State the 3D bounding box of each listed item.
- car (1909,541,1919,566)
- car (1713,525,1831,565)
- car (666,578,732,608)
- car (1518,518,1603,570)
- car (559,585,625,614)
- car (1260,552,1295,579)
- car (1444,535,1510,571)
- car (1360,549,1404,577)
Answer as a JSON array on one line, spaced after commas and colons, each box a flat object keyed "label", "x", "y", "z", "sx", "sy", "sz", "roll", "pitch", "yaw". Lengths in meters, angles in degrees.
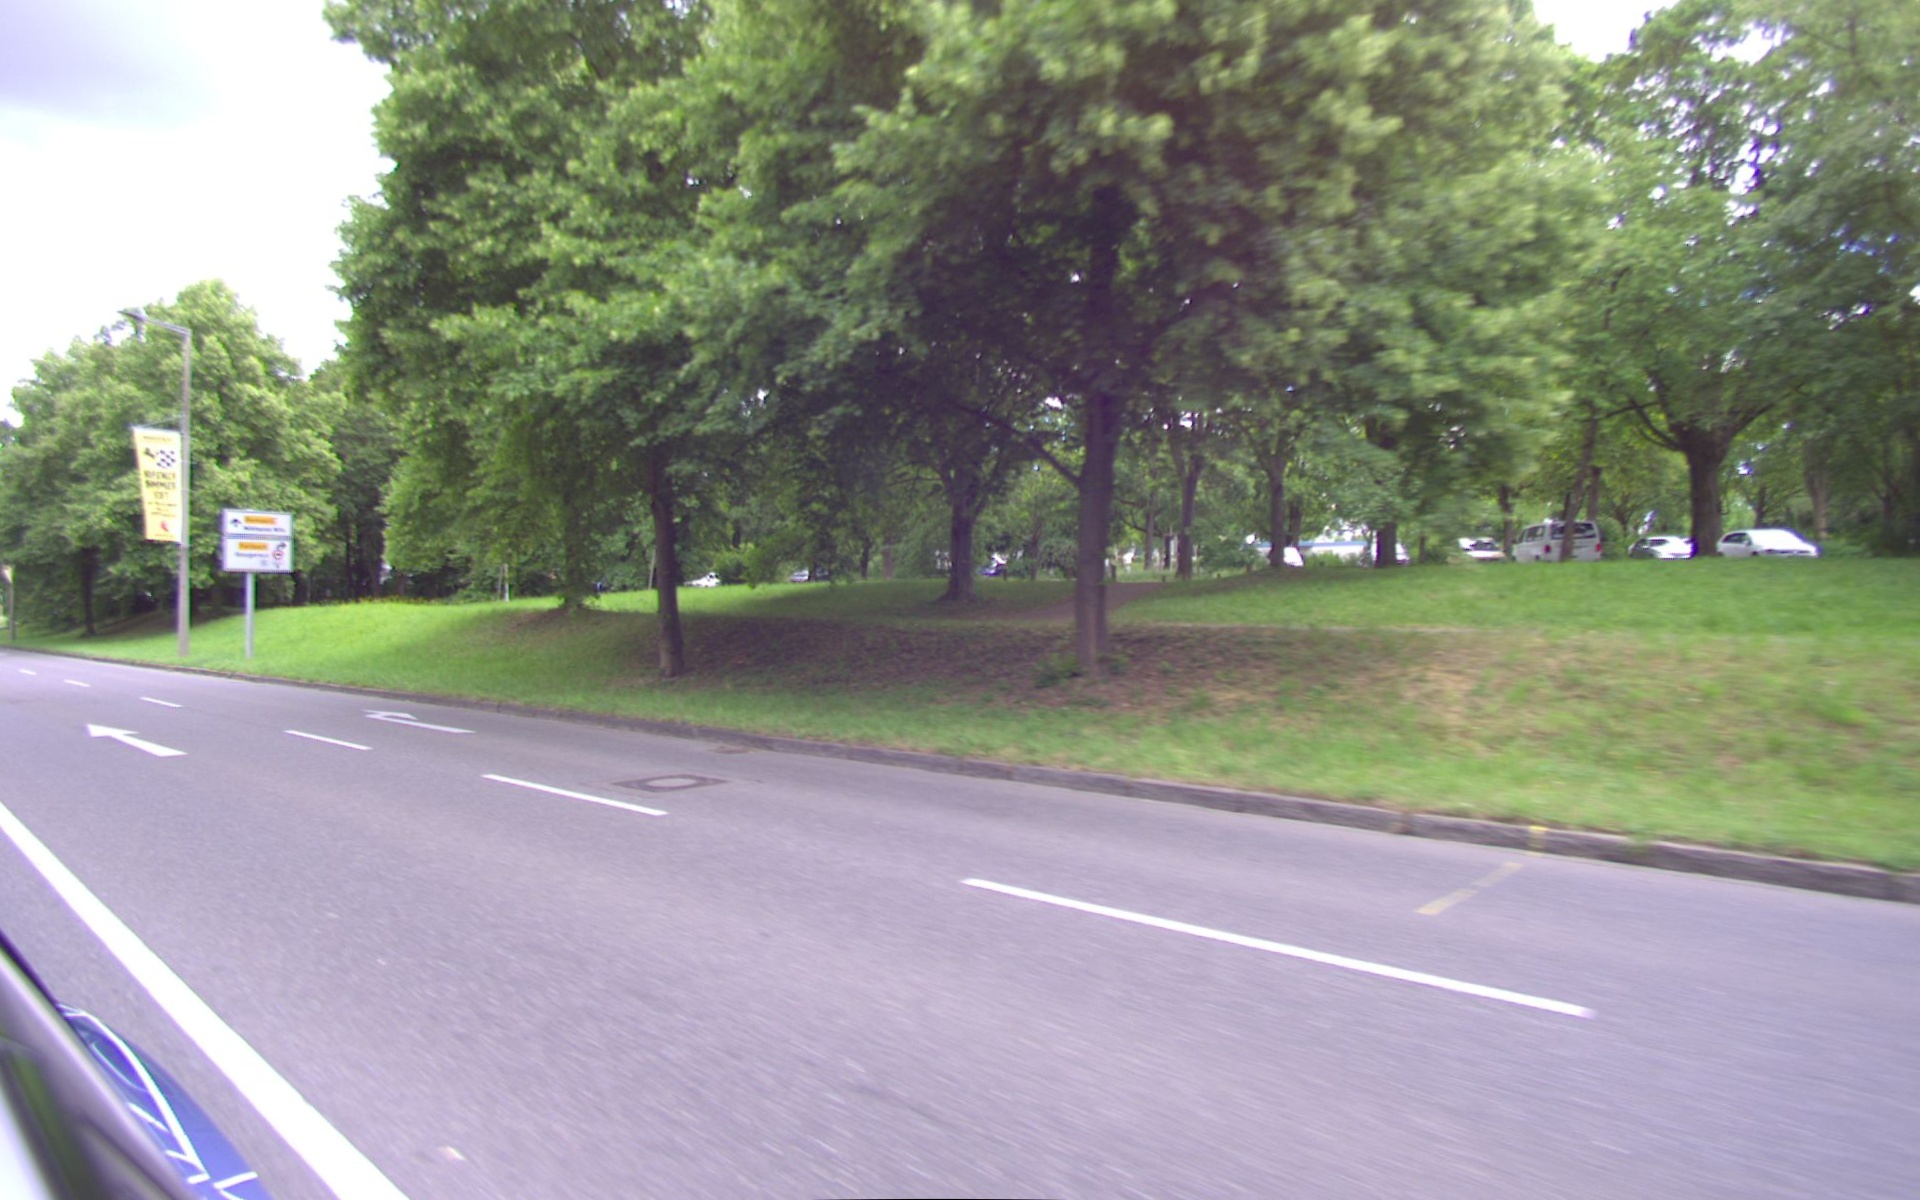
[{"label": "car", "x": 47.679, "y": -2.310, "z": 48.269, "sx": 1.886, "sy": 1.219, "sz": 3.965, "roll": -1, "pitch": 0, "yaw": 16}, {"label": "car", "x": 29.277, "y": -1.945, "z": 36.652, "sx": 1.886, "sy": 1.219, "sz": 3.965, "roll": -1, "pitch": 0, "yaw": 16}, {"label": "car", "x": -17.746, "y": -0.467, "z": 69.074, "sx": 2.298, "sy": 1.910, "sz": 4.883, "roll": -1, "pitch": 0, "yaw": 13}, {"label": "car", "x": 22.396, "y": -2.052, "z": 37.904, "sx": 1.739, "sy": 1.696, "sz": 4.092, "roll": -1, "pitch": 0, "yaw": 17}, {"label": "car", "x": -25.822, "y": -0.033, "z": 71.130, "sx": 1.980, "sy": 1.910, "sz": 4.883, "roll": -1, "pitch": 0, "yaw": 13}, {"label": "car", "x": 16.207, "y": -1.722, "z": 51.788, "sx": 1.386, "sy": 1.243, "sz": 3.495, "roll": -1, "pitch": 0, "yaw": 13}, {"label": "car", "x": 19.708, "y": -1.763, "z": 38.704, "sx": 1.386, "sy": 1.219, "sz": 3.495, "roll": -1, "pitch": 0, "yaw": 13}, {"label": "car", "x": 20.763, "y": -1.807, "z": 49.870, "sx": 1.386, "sy": 1.243, "sz": 3.495, "roll": -1, "pitch": 0, "yaw": 13}]
